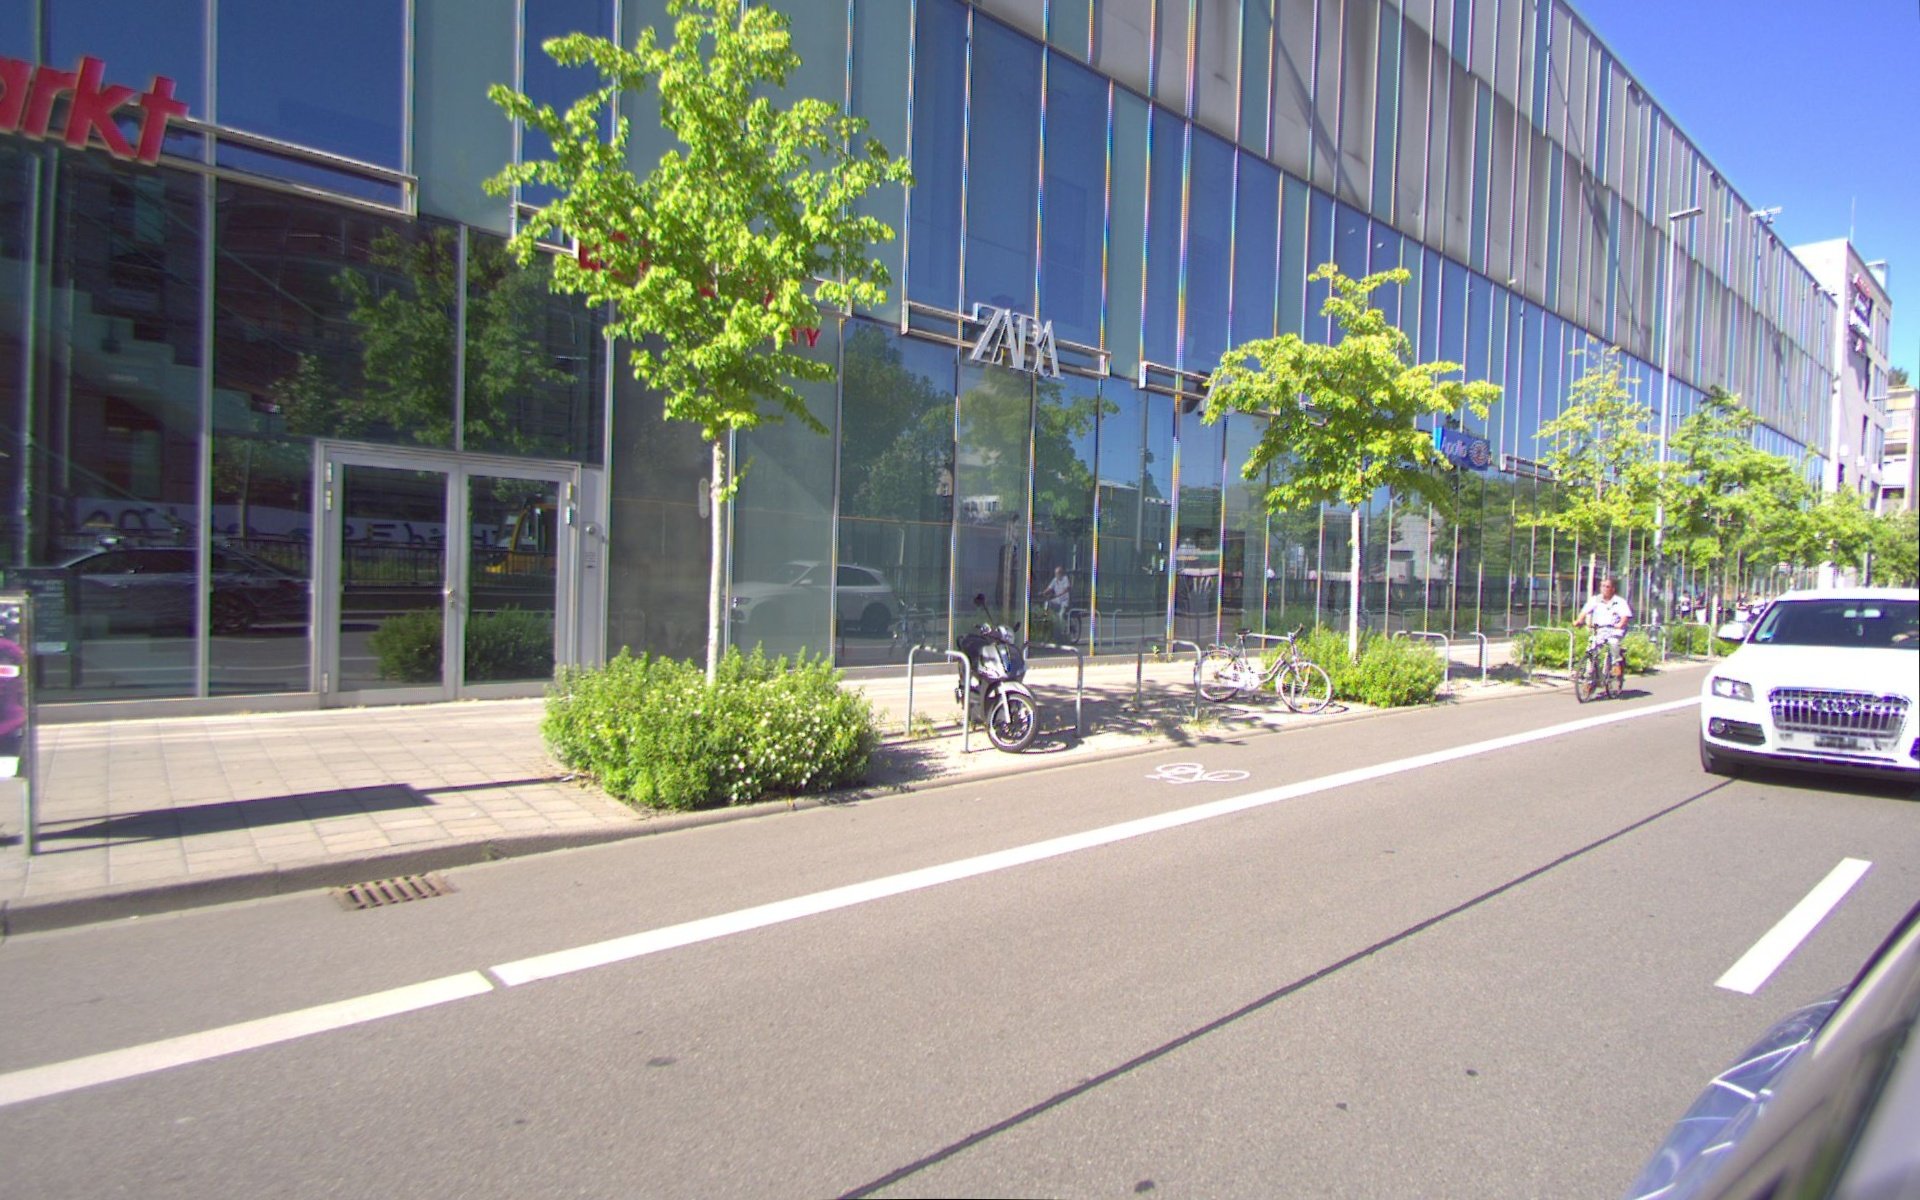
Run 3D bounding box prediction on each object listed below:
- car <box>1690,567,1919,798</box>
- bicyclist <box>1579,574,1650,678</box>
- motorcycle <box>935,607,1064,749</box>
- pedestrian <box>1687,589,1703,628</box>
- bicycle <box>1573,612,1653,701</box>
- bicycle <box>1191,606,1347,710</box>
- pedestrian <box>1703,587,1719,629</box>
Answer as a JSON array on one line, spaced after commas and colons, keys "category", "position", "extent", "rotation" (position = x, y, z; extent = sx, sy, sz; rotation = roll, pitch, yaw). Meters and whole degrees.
[{"category": "car", "position": [8.054, 0.590, 8.909], "extent": [3.933, 1.654, 1.931], "rotation": [0, 1, -43]}, {"category": "bicyclist", "position": [9.659, 0.363, 14.936], "extent": [0.754, 1.480, 0.578], "rotation": [2, 1, 45]}, {"category": "motorcycle", "position": [0.328, 0.684, 9.714], "extent": [0.630, 1.095, 1.886], "rotation": [1, 3, -16]}, {"category": "pedestrian", "position": [30.479, 0.357, 41.990], "extent": [0.282, 1.620, 0.450], "rotation": [1, 1, -40]}, {"category": "bicycle", "position": [9.624, 0.789, 14.878], "extent": [0.608, 1.165, 1.956], "rotation": [1, 1, 44]}, {"category": "bicycle", "position": [3.809, 0.681, 12.560], "extent": [1.729, 1.075, 0.462], "rotation": [5, 3, 35]}, {"category": "pedestrian", "position": [30.964, 0.328, 41.714], "extent": [0.339, 1.712, 0.450], "rotation": [1, 1, -40]}]
